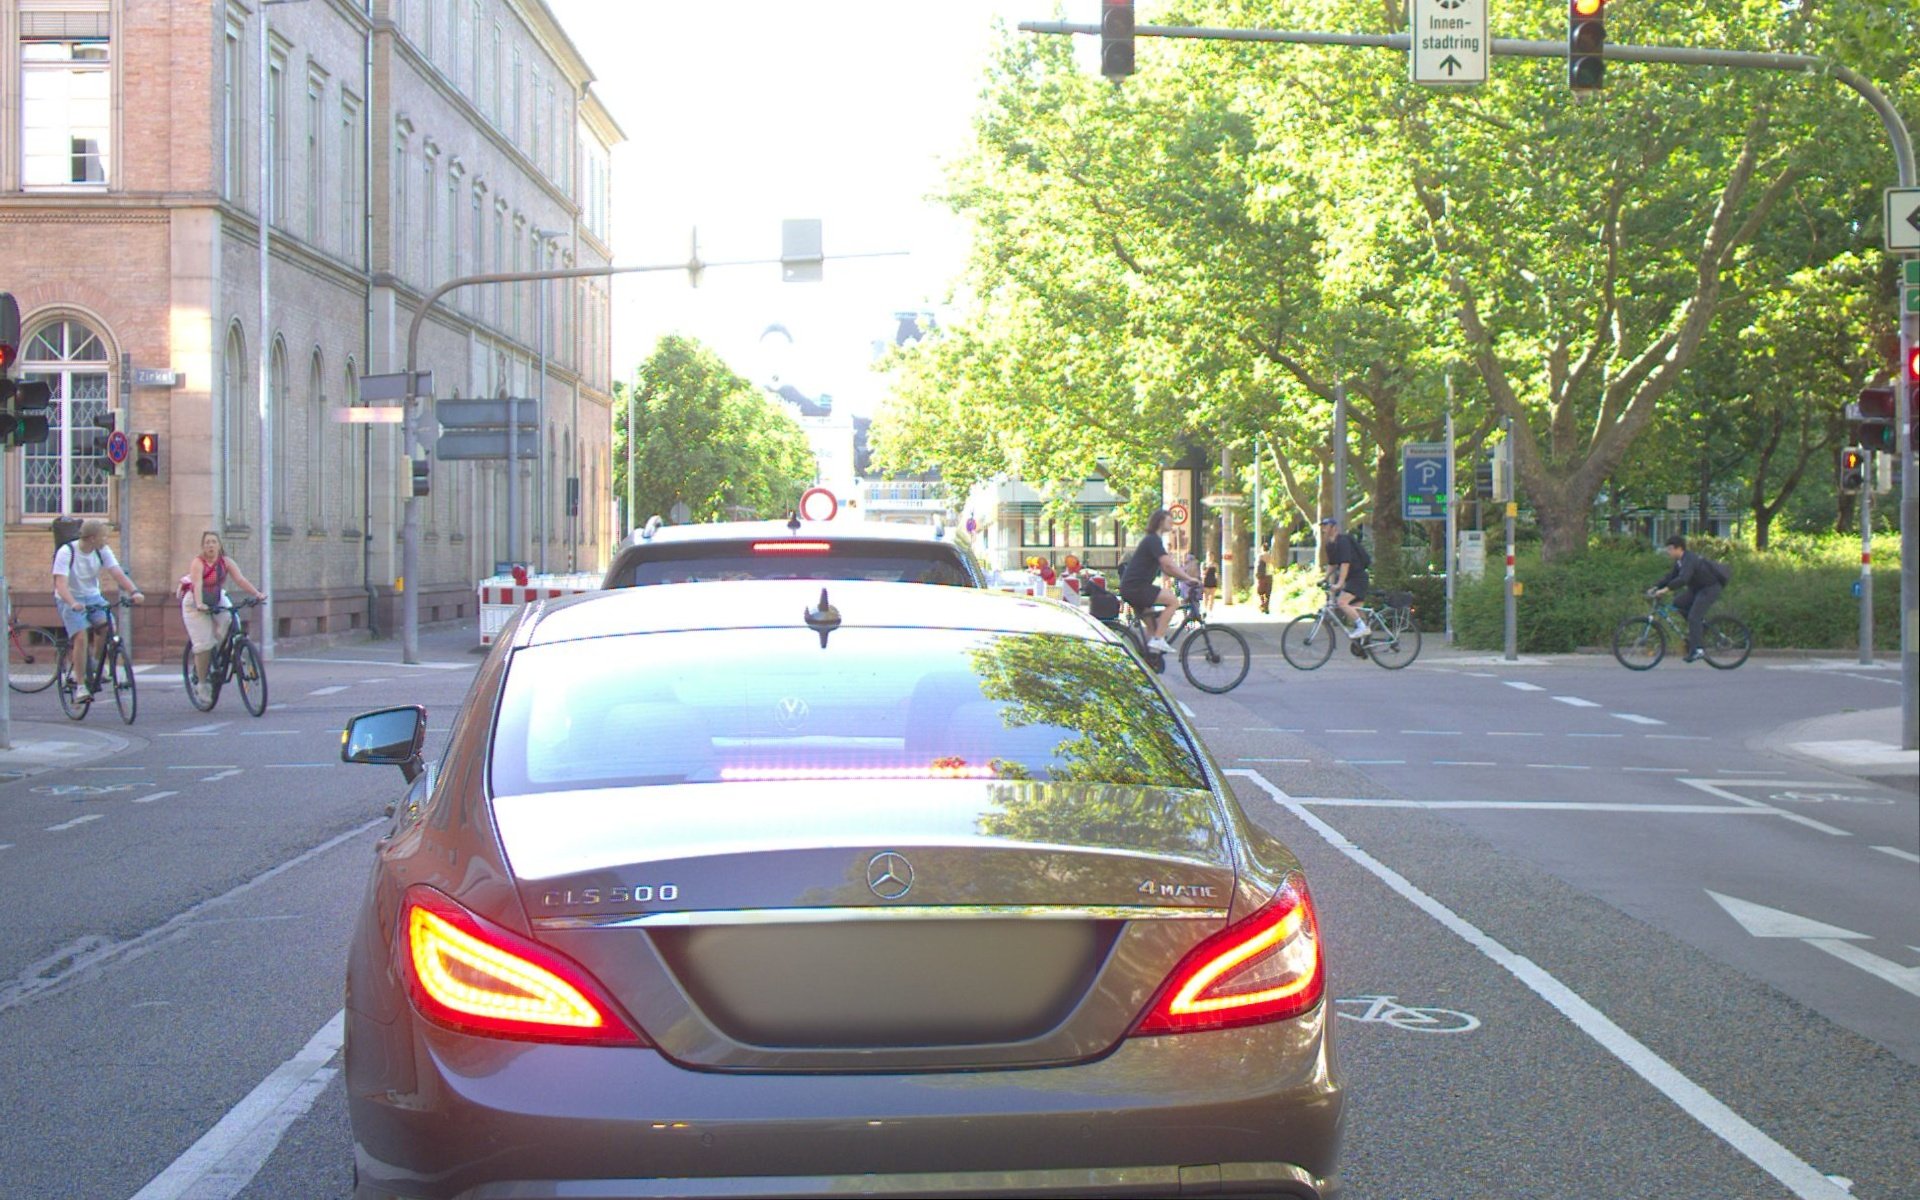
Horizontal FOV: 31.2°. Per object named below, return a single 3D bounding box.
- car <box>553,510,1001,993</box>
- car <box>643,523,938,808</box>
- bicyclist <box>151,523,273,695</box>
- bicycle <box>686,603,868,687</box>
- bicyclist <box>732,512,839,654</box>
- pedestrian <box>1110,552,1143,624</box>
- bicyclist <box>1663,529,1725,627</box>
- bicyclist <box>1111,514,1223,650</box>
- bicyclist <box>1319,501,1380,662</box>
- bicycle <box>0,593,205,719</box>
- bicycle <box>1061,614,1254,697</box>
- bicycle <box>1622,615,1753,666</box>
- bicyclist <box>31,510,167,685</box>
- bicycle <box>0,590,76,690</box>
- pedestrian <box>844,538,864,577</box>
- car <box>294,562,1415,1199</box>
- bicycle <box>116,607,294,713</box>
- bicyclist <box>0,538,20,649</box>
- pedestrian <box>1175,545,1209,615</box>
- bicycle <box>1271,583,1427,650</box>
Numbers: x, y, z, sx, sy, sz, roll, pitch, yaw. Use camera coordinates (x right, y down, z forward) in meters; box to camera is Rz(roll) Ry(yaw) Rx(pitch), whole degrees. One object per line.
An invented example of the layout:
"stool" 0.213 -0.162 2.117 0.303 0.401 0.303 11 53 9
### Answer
"car" -0.714 0.489 13.710 1.517 1.641 3.881 1 1 -3
"car" -1.069 0.370 23.251 1.820 1.756 4.000 0 1 -1
"bicyclist" -6.958 0.071 31.976 0.981 1.572 0.685 1 1 44
"bicycle" -1.968 0.478 37.106 1.893 0.879 0.725 0 1 4
"bicyclist" -1.880 -0.192 37.086 1.075 1.514 0.716 0 1 5
"pedestrian" 3.483 -0.248 71.763 0.648 1.498 0.637 0 1 -1
"bicyclist" 9.427 -0.282 44.171 0.704 1.256 0.457 0 1 3
"bicyclist" 2.134 -0.188 35.551 1.103 1.398 0.657 0 1 -1
"bicyclist" 4.876 -0.231 43.055 0.652 2.007 0.440 0 1 -8
"bicycle" -7.779 0.489 31.003 1.834 1.075 0.864 1 1 34
"bicycle" 2.033 0.570 35.558 1.974 0.834 0.677 0 1 1
"bicycle" 9.349 0.521 44.202 1.587 0.632 0.496 0 1 3
"bicyclist" -7.761 -0.030 30.991 0.838 1.549 0.843 1 1 33
"bicycle" -10.313 0.408 35.918 1.980 1.024 0.651 0 1 2
"pedestrian" -4.279 -1.722 138.602 0.801 1.571 0.845 0 1 -1
"car" -0.441 0.660 7.672 1.803 1.451 4.352 0 1 -8
"bicycle" -7.051 0.543 32.052 1.862 0.926 0.694 1 1 43
"bicyclist" -10.410 -0.074 35.919 0.991 1.150 0.620 0 1 2
"pedestrian" 4.806 -0.417 71.218 0.648 1.428 0.659 0 1 -1
"bicycle" 4.870 0.205 43.049 1.891 0.834 0.458 0 1 -8
